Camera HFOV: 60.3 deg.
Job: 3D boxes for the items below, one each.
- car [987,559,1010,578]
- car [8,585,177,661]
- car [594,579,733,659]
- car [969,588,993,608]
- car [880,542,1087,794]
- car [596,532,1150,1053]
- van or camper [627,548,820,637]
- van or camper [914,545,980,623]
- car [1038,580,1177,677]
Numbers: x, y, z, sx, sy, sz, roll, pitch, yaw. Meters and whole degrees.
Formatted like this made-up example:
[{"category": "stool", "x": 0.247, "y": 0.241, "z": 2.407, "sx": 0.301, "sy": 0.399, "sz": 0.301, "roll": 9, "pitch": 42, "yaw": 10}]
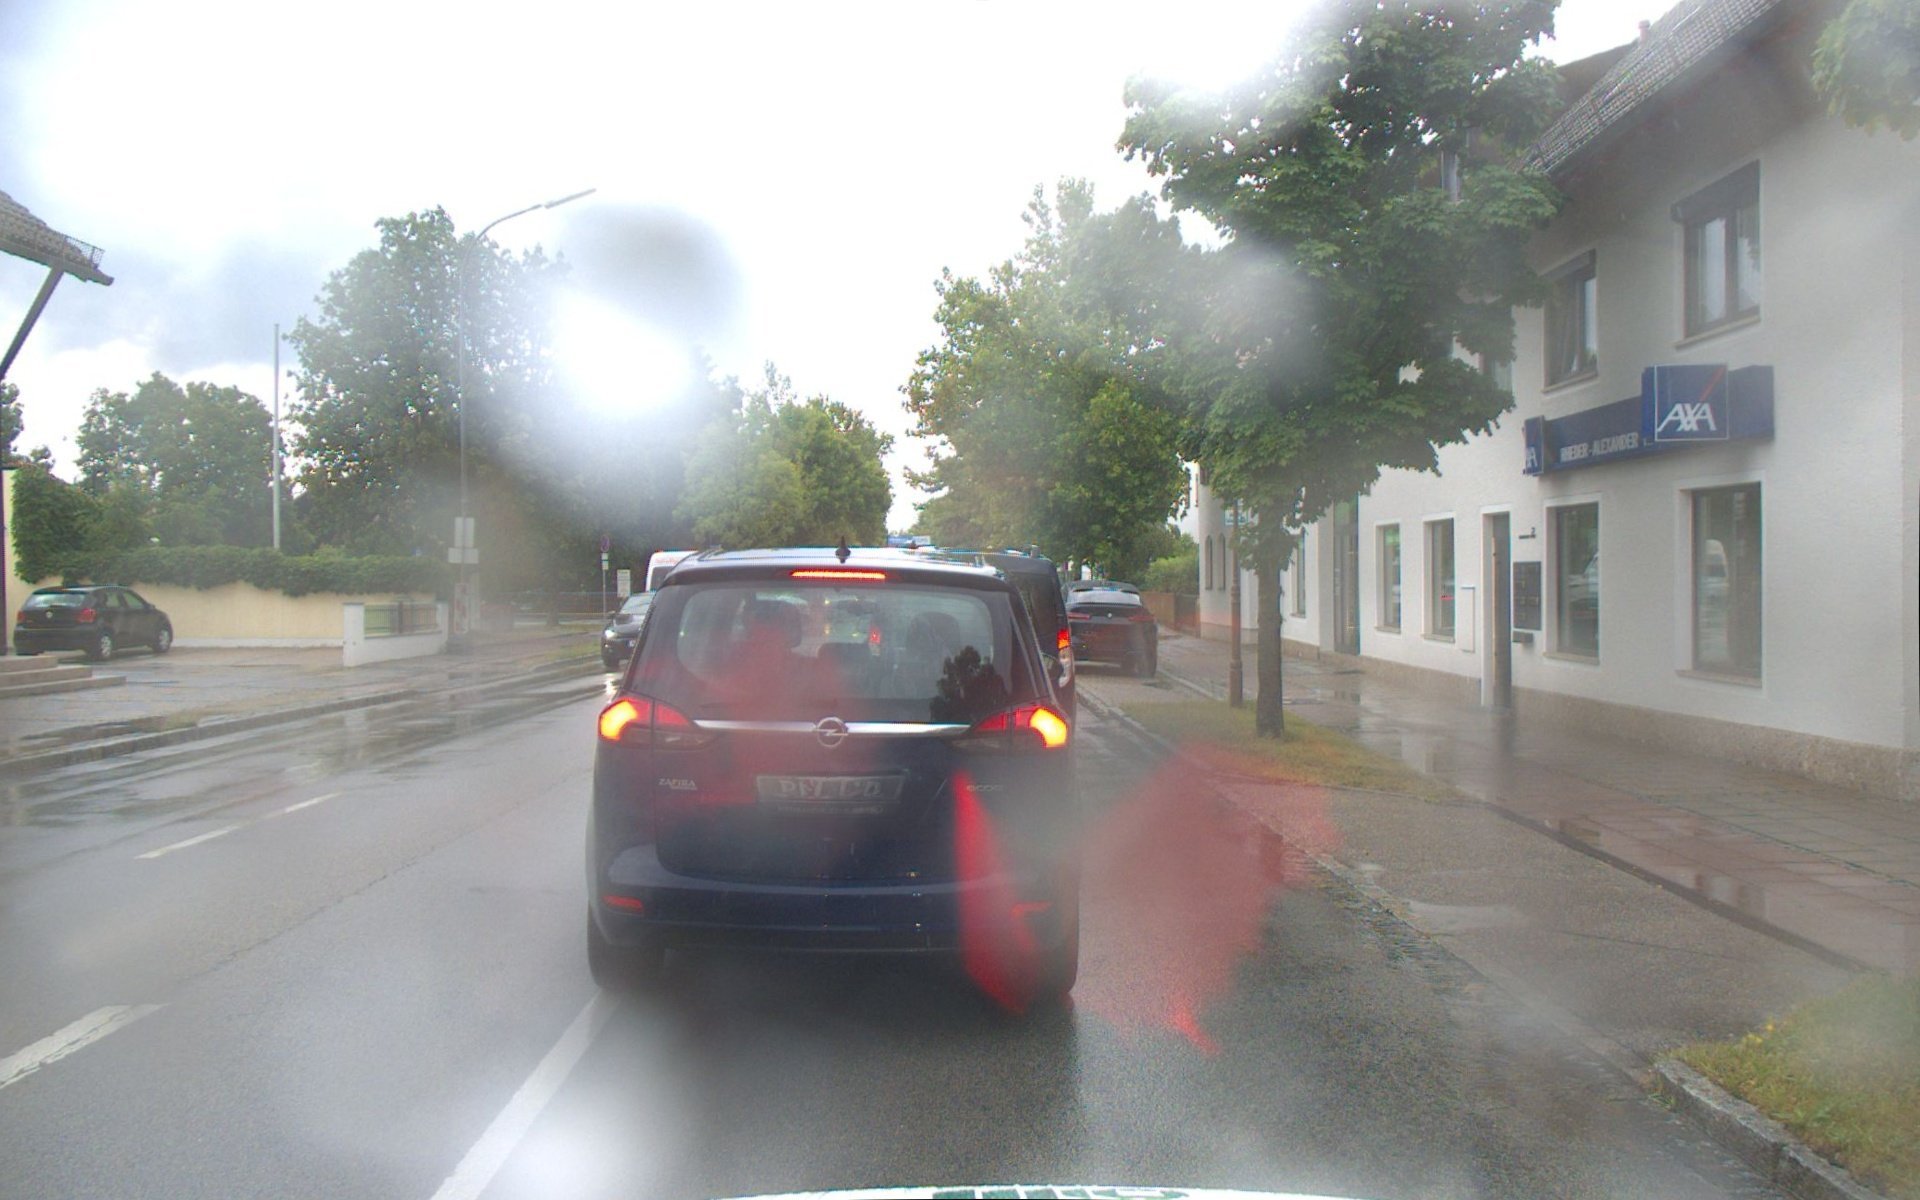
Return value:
[{"category": "car", "x": 3.005, "y": -2.438, "z": 128.327, "sx": 1.597, "sy": 1.402, "sz": 3.622, "roll": -1, "pitch": 0, "yaw": -1}, {"category": "car", "x": -17.379, "y": 0.434, "z": 33.301, "sx": 1.574, "sy": 1.404, "sz": 3.508, "roll": -2, "pitch": 0, "yaw": -1}, {"category": "car", "x": -5.777, "y": 0.333, "z": 32.672, "sx": 1.955, "sy": 1.432, "sz": 3.884, "roll": -2, "pitch": 0, "yaw": 1}, {"category": "car", "x": 1.506, "y": -0.132, "z": 119.042, "sx": 1.597, "sy": 1.402, "sz": 3.622, "roll": 1, "pitch": 0, "yaw": -1}, {"category": "car", "x": 0.151, "y": 0.481, "z": 13.553, "sx": 1.470, "sy": 1.807, "sz": 3.111, "roll": 1, "pitch": 0, "yaw": -1}, {"category": "car", "x": -0.297, "y": 0.599, "z": 7.081, "sx": 1.733, "sy": 1.632, "sz": 3.663, "roll": 1, "pitch": 0, "yaw": -1}, {"category": "van or camper", "x": -7.673, "y": -0.225, "z": 53.452, "sx": 6.128, "sy": 2.754, "sz": 2.098, "roll": 0, "pitch": 0, "yaw": 28}, {"category": "van or camper", "x": -0.486, "y": -0.589, "z": 60.642, "sx": 2.312, "sy": 2.712, "sz": 5.371, "roll": -1, "pitch": 0, "yaw": -1}, {"category": "car", "x": 2.601, "y": 0.476, "z": 30.111, "sx": 2.075, "sy": 1.609, "sz": 3.934, "roll": 1, "pitch": 0, "yaw": -1}]
